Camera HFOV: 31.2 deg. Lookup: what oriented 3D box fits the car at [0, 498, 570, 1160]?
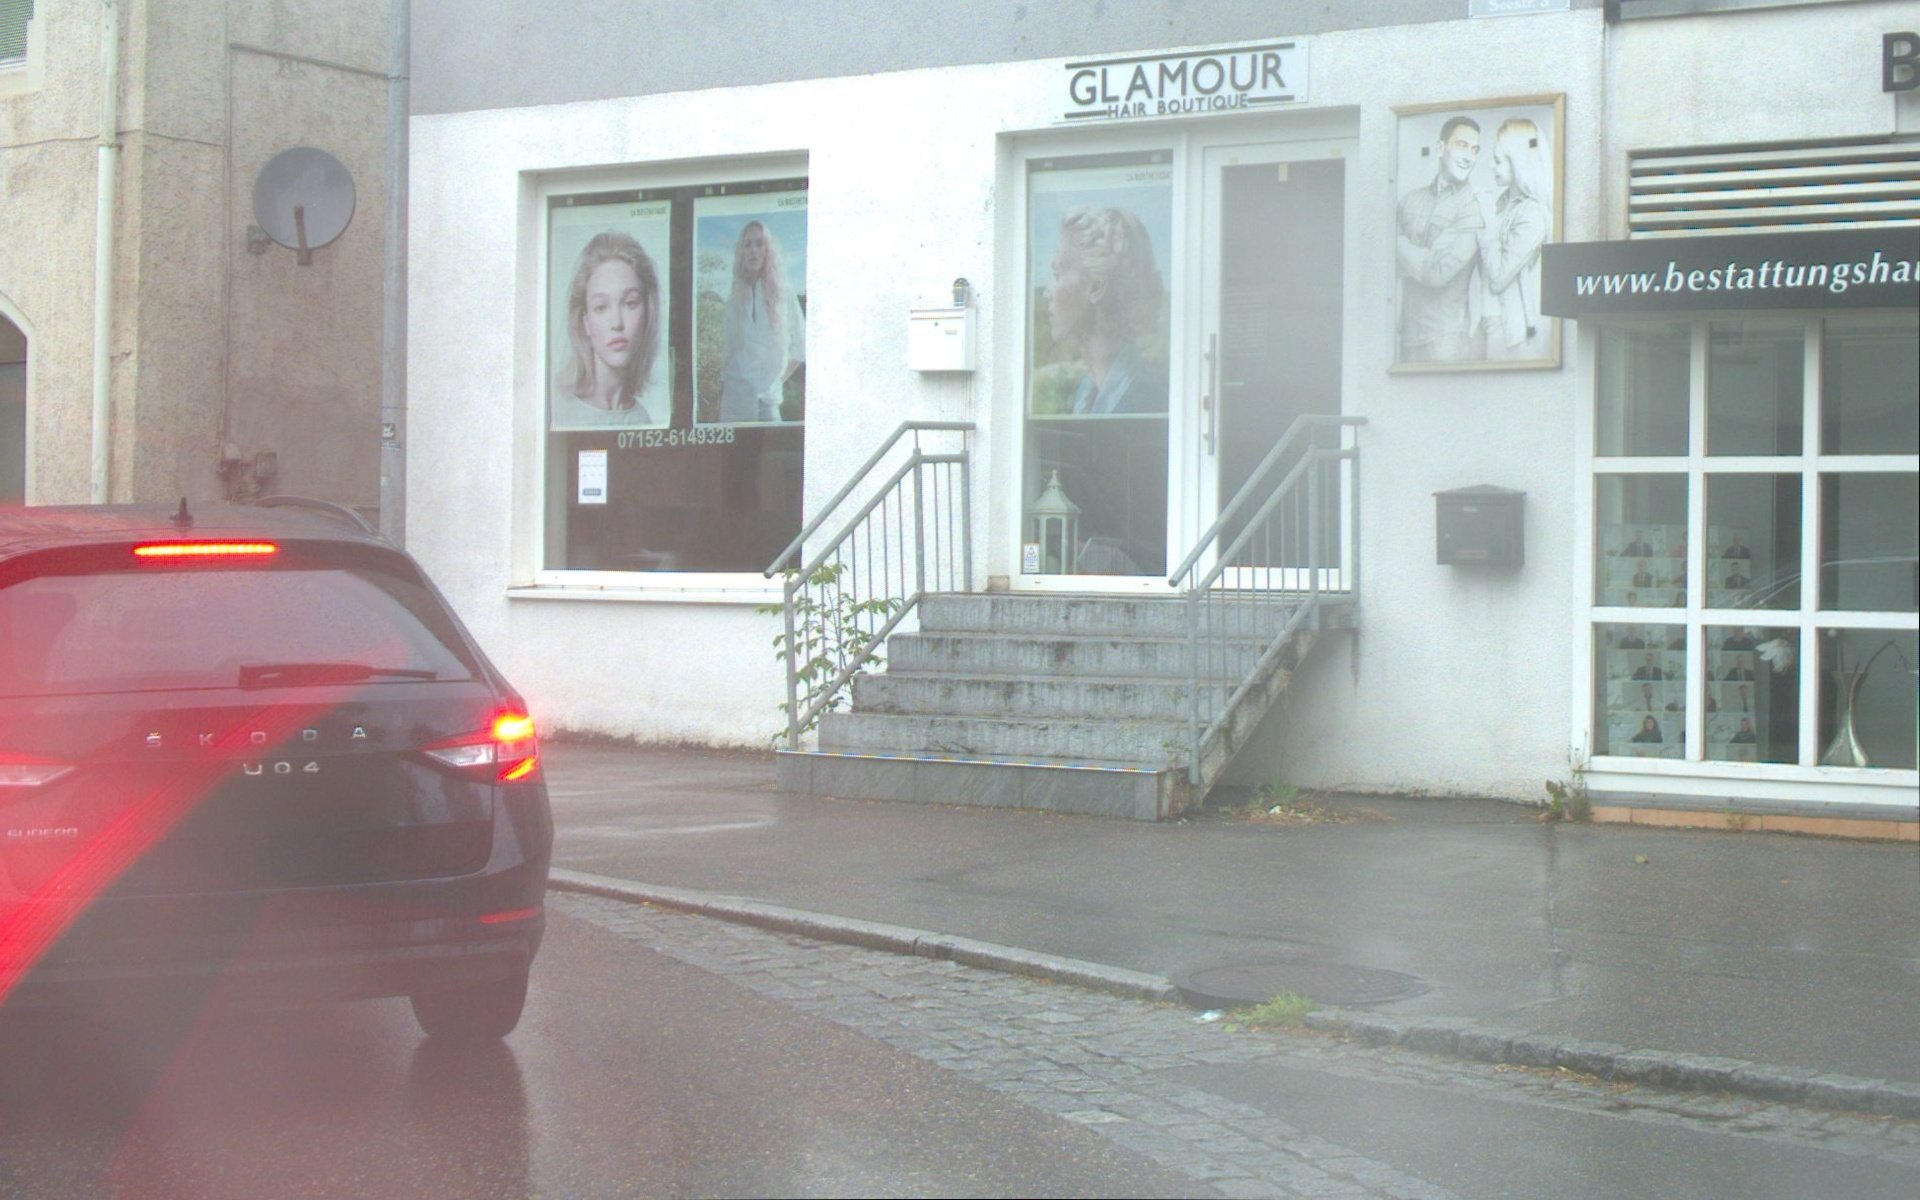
[{"bbox_3d":[-2.570,0.464,9.993,1.732,1.445,4.243,-1,3,-23],"label":"car"}]
